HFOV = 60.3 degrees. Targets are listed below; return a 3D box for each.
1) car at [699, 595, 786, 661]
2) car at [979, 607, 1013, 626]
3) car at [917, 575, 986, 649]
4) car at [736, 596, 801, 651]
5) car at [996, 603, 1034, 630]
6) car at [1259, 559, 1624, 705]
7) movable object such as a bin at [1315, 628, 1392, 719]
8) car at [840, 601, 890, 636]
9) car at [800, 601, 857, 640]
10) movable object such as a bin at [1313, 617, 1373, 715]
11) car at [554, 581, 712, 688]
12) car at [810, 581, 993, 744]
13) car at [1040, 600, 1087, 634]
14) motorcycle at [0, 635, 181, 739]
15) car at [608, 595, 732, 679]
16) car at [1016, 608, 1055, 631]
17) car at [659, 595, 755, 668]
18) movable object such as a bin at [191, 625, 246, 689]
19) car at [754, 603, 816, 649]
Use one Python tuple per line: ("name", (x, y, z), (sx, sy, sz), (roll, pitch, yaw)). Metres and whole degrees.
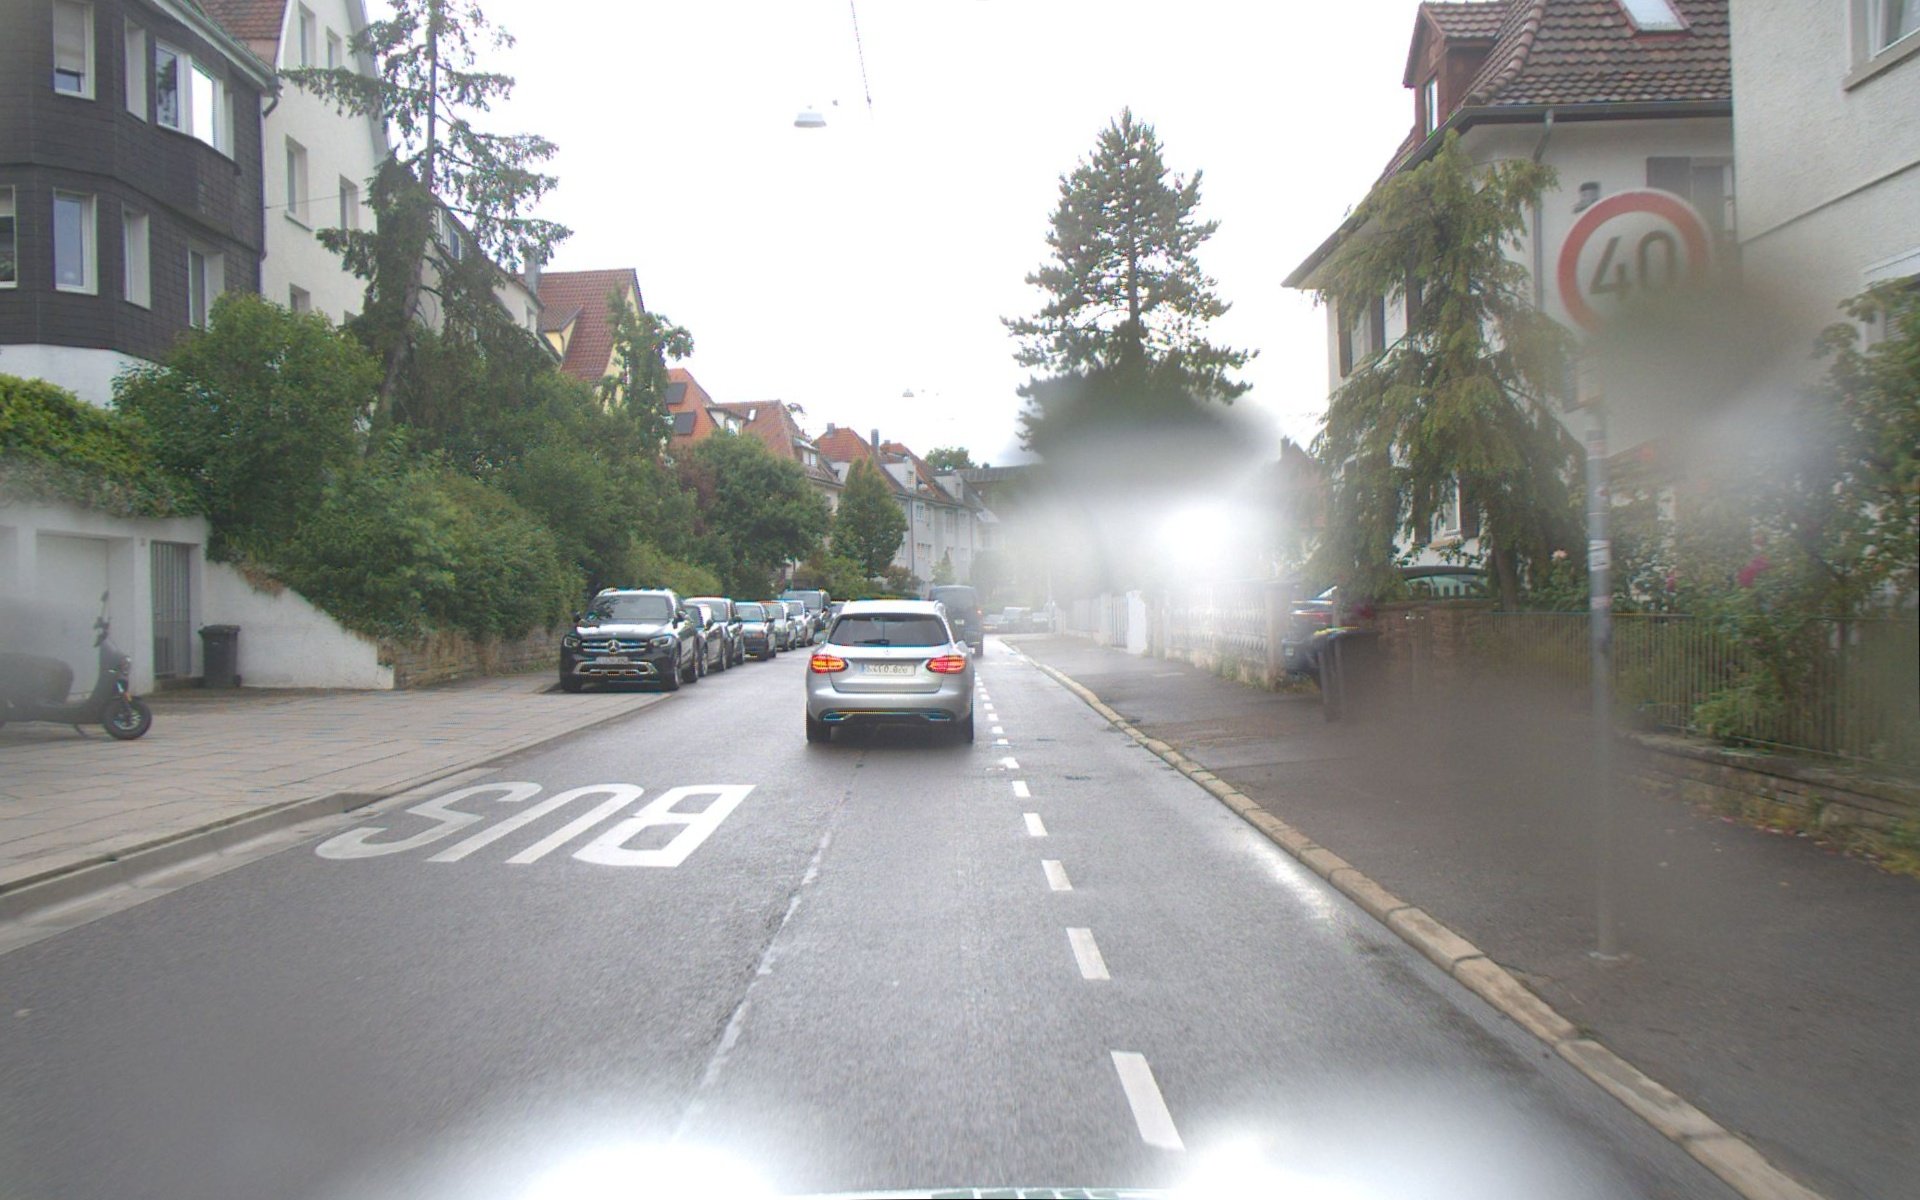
("car", (-5.519, 0.679, 42.344), (1.720, 1.472, 4.416), (0, 2, -1))
("car", (2.710, 1.227, 124.978), (1.608, 1.442, 4.616), (0, 0, 14))
("car", (-0.204, 0.342, 45.250), (1.805, 1.937, 4.000), (0, -1, 0))
("car", (-5.766, 0.683, 50.141), (1.613, 1.472, 3.627), (0, 2, -1))
("car", (4.331, 1.332, 130.409), (1.790, 2.092, 5.012), (0, -1, 16))
("car", (5.796, 0.346, 20.248), (3.906, 1.668, 1.918), (0, 2, -1))
("movable object such as a bin", (3.934, 0.730, 16.542), (0.638, 0.870, 0.503), (0, 1, -3))
("car", (-4.911, 0.957, 86.235), (1.952, 1.732, 4.741), (2, 0, 4))
("car", (-5.870, 0.904, 74.322), (1.952, 1.608, 4.762), (2, 0, 2))
("movable object such as a bin", (3.951, 0.672, 17.082), (0.484, 0.972, 0.503), (0, 1, -3))
("car", (-5.389, 0.525, 27.802), (1.855, 1.651, 4.378), (0, 0, -1))
("car", (-0.674, 0.611, 18.116), (1.780, 1.584, 3.997), (0, 0, -3))
("car", (9.038, 1.448, 143.828), (2.341, 2.820, 6.534), (0, 1, 19))
("motorcycle", (-8.486, 0.825, 15.818), (1.758, 0.919, 0.603), (2, 0, -1))
("car", (-5.708, 0.695, 33.000), (1.855, 1.472, 3.813), (0, 2, -1))
("car", (6.235, 1.593, 136.638), (1.952, 1.718, 4.678), (0, 2, 20))
("car", (-5.690, 0.676, 37.544), (1.662, 1.568, 3.813), (0, 0, -1))
("movable object such as a bin", (-11.097, 0.845, 24.766), (0.480, 0.904, 0.617), (1, 2, 45))
("car", (-5.856, 0.839, 55.597), (1.659, 1.472, 3.813), (-1, 0, 0))
